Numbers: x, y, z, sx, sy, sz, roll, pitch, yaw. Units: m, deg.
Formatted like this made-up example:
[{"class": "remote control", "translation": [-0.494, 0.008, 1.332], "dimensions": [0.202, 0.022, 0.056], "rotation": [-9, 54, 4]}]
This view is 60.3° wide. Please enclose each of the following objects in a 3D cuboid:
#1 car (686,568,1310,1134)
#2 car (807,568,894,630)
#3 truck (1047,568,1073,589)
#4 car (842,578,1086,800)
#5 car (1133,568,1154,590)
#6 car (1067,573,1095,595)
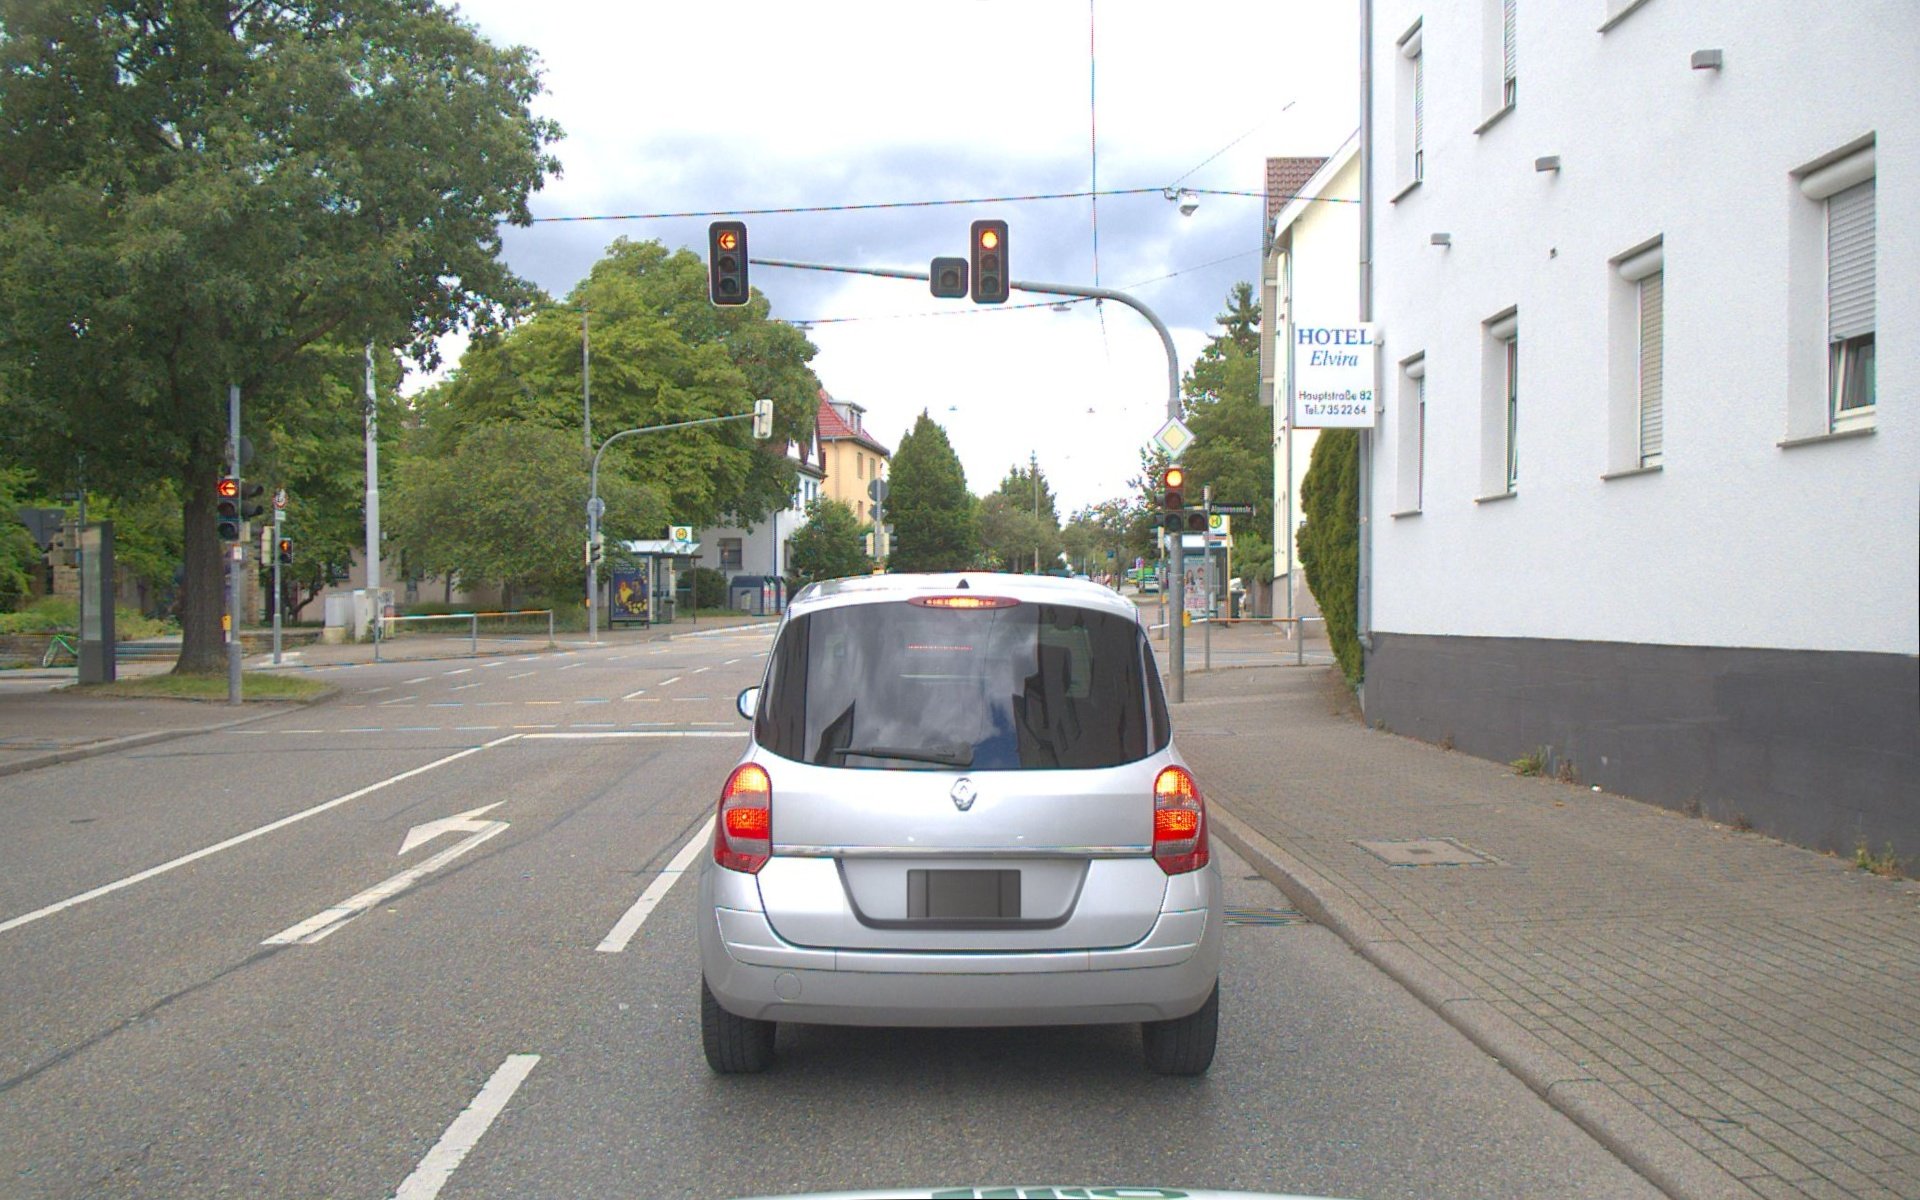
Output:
[{"class": "car", "translation": [0.069, 0.697, 6.580], "dimensions": [1.719, 1.557, 3.999], "rotation": [1, 0, -1]}, {"class": "car", "translation": [-3.536, -0.045, 54.140], "dimensions": [1.885, 1.804, 4.004], "rotation": [-4, 0, 9]}, {"class": "truck", "translation": [10.083, -2.157, 166.695], "dimensions": [2.056, 2.049, 5.752], "rotation": [1, 0, 9]}, {"class": "car", "translation": [-0.009, 0.629, 13.625], "dimensions": [1.719, 1.557, 3.796], "rotation": [1, 0, -1]}, {"class": "car", "translation": [21.954, -2.531, 197.959], "dimensions": [2.015, 2.556, 5.600], "rotation": [0, 0, 11]}, {"class": "car", "translation": [9.913, -1.301, 135.595], "dimensions": [1.818, 1.778, 4.003], "rotation": [1, 0, 11]}]
